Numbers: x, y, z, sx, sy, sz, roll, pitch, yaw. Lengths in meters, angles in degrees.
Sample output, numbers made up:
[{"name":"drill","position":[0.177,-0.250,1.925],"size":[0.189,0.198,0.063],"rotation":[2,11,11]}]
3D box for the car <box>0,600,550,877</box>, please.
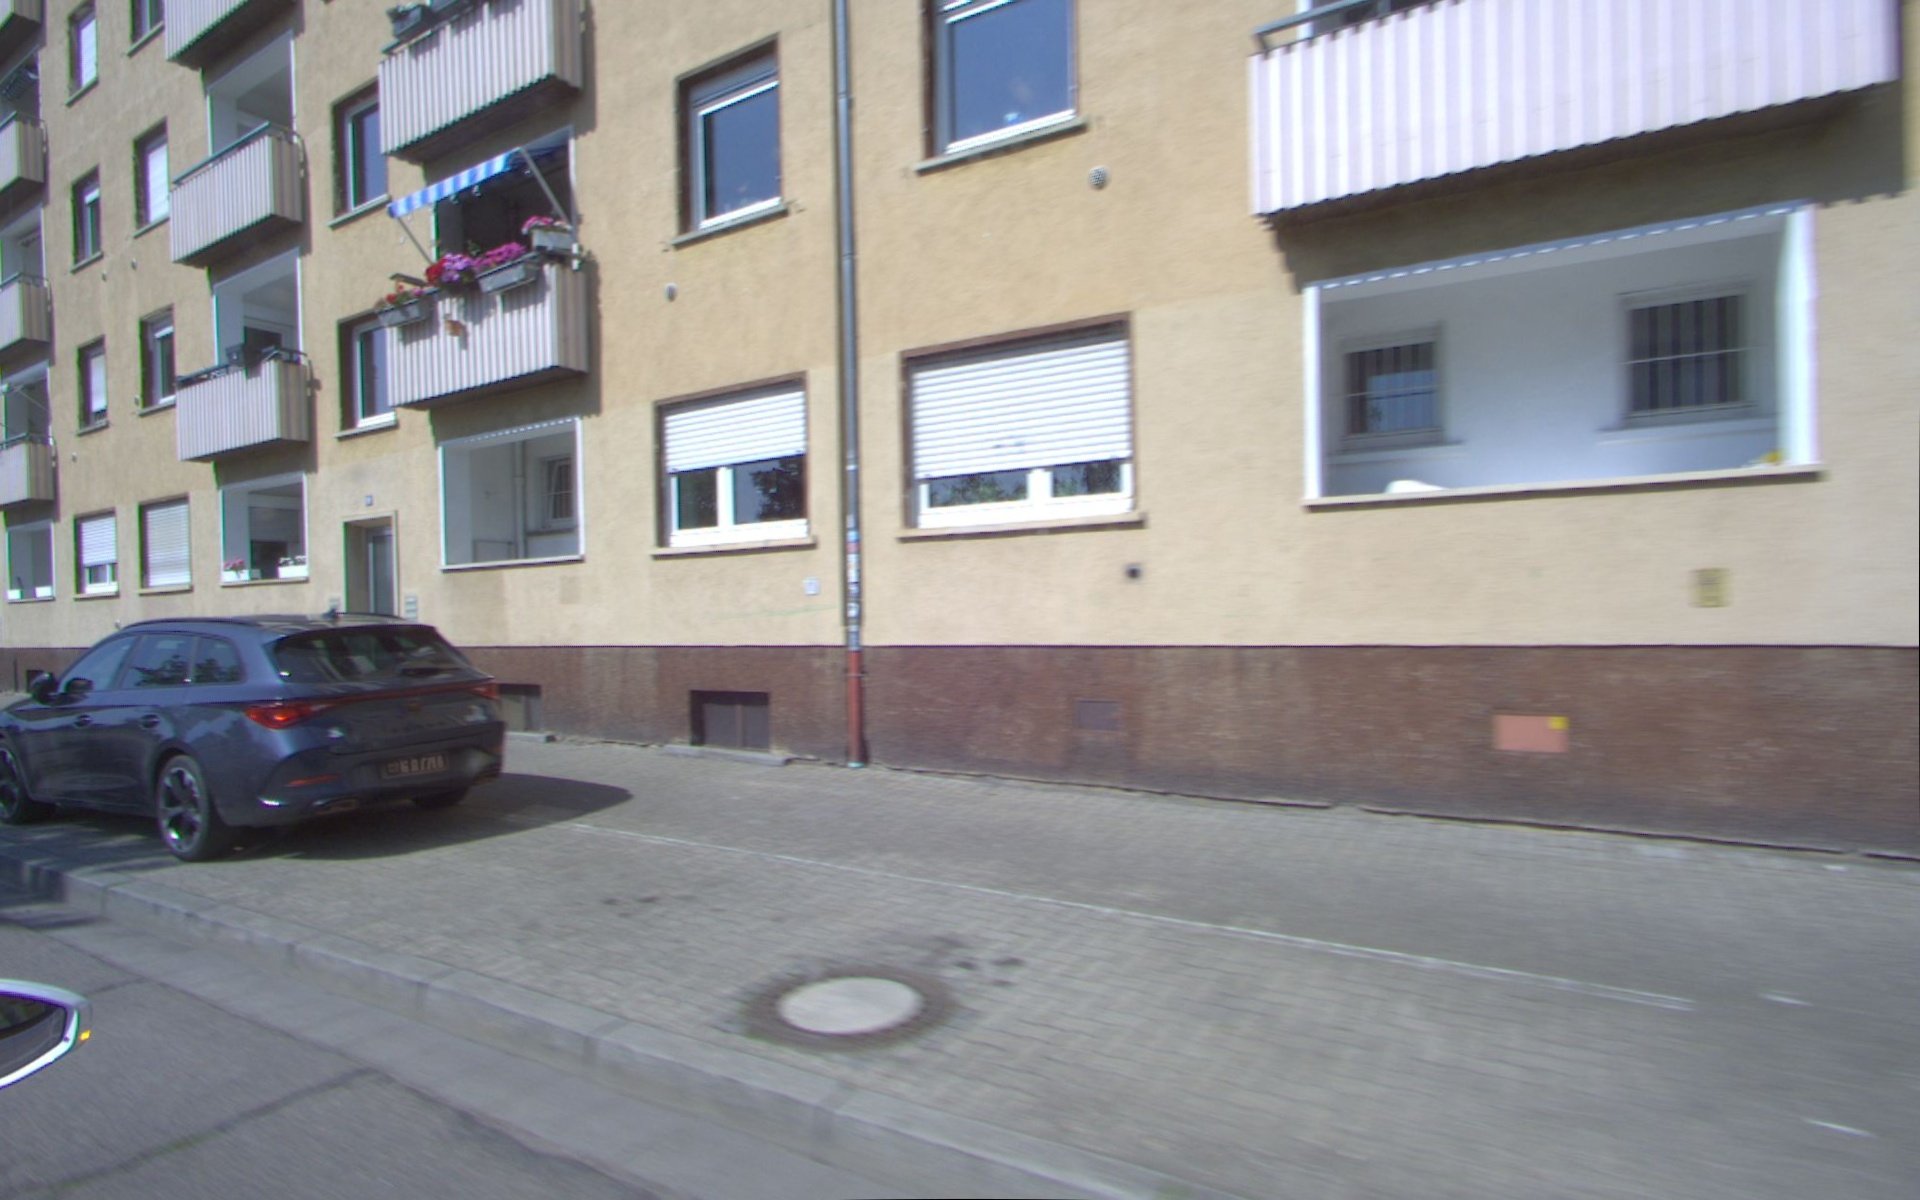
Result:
[{"name":"car","position":[-5.262,0.777,7.253],"size":[4.520,1.457,1.798],"rotation":[-1,1,29]}]
